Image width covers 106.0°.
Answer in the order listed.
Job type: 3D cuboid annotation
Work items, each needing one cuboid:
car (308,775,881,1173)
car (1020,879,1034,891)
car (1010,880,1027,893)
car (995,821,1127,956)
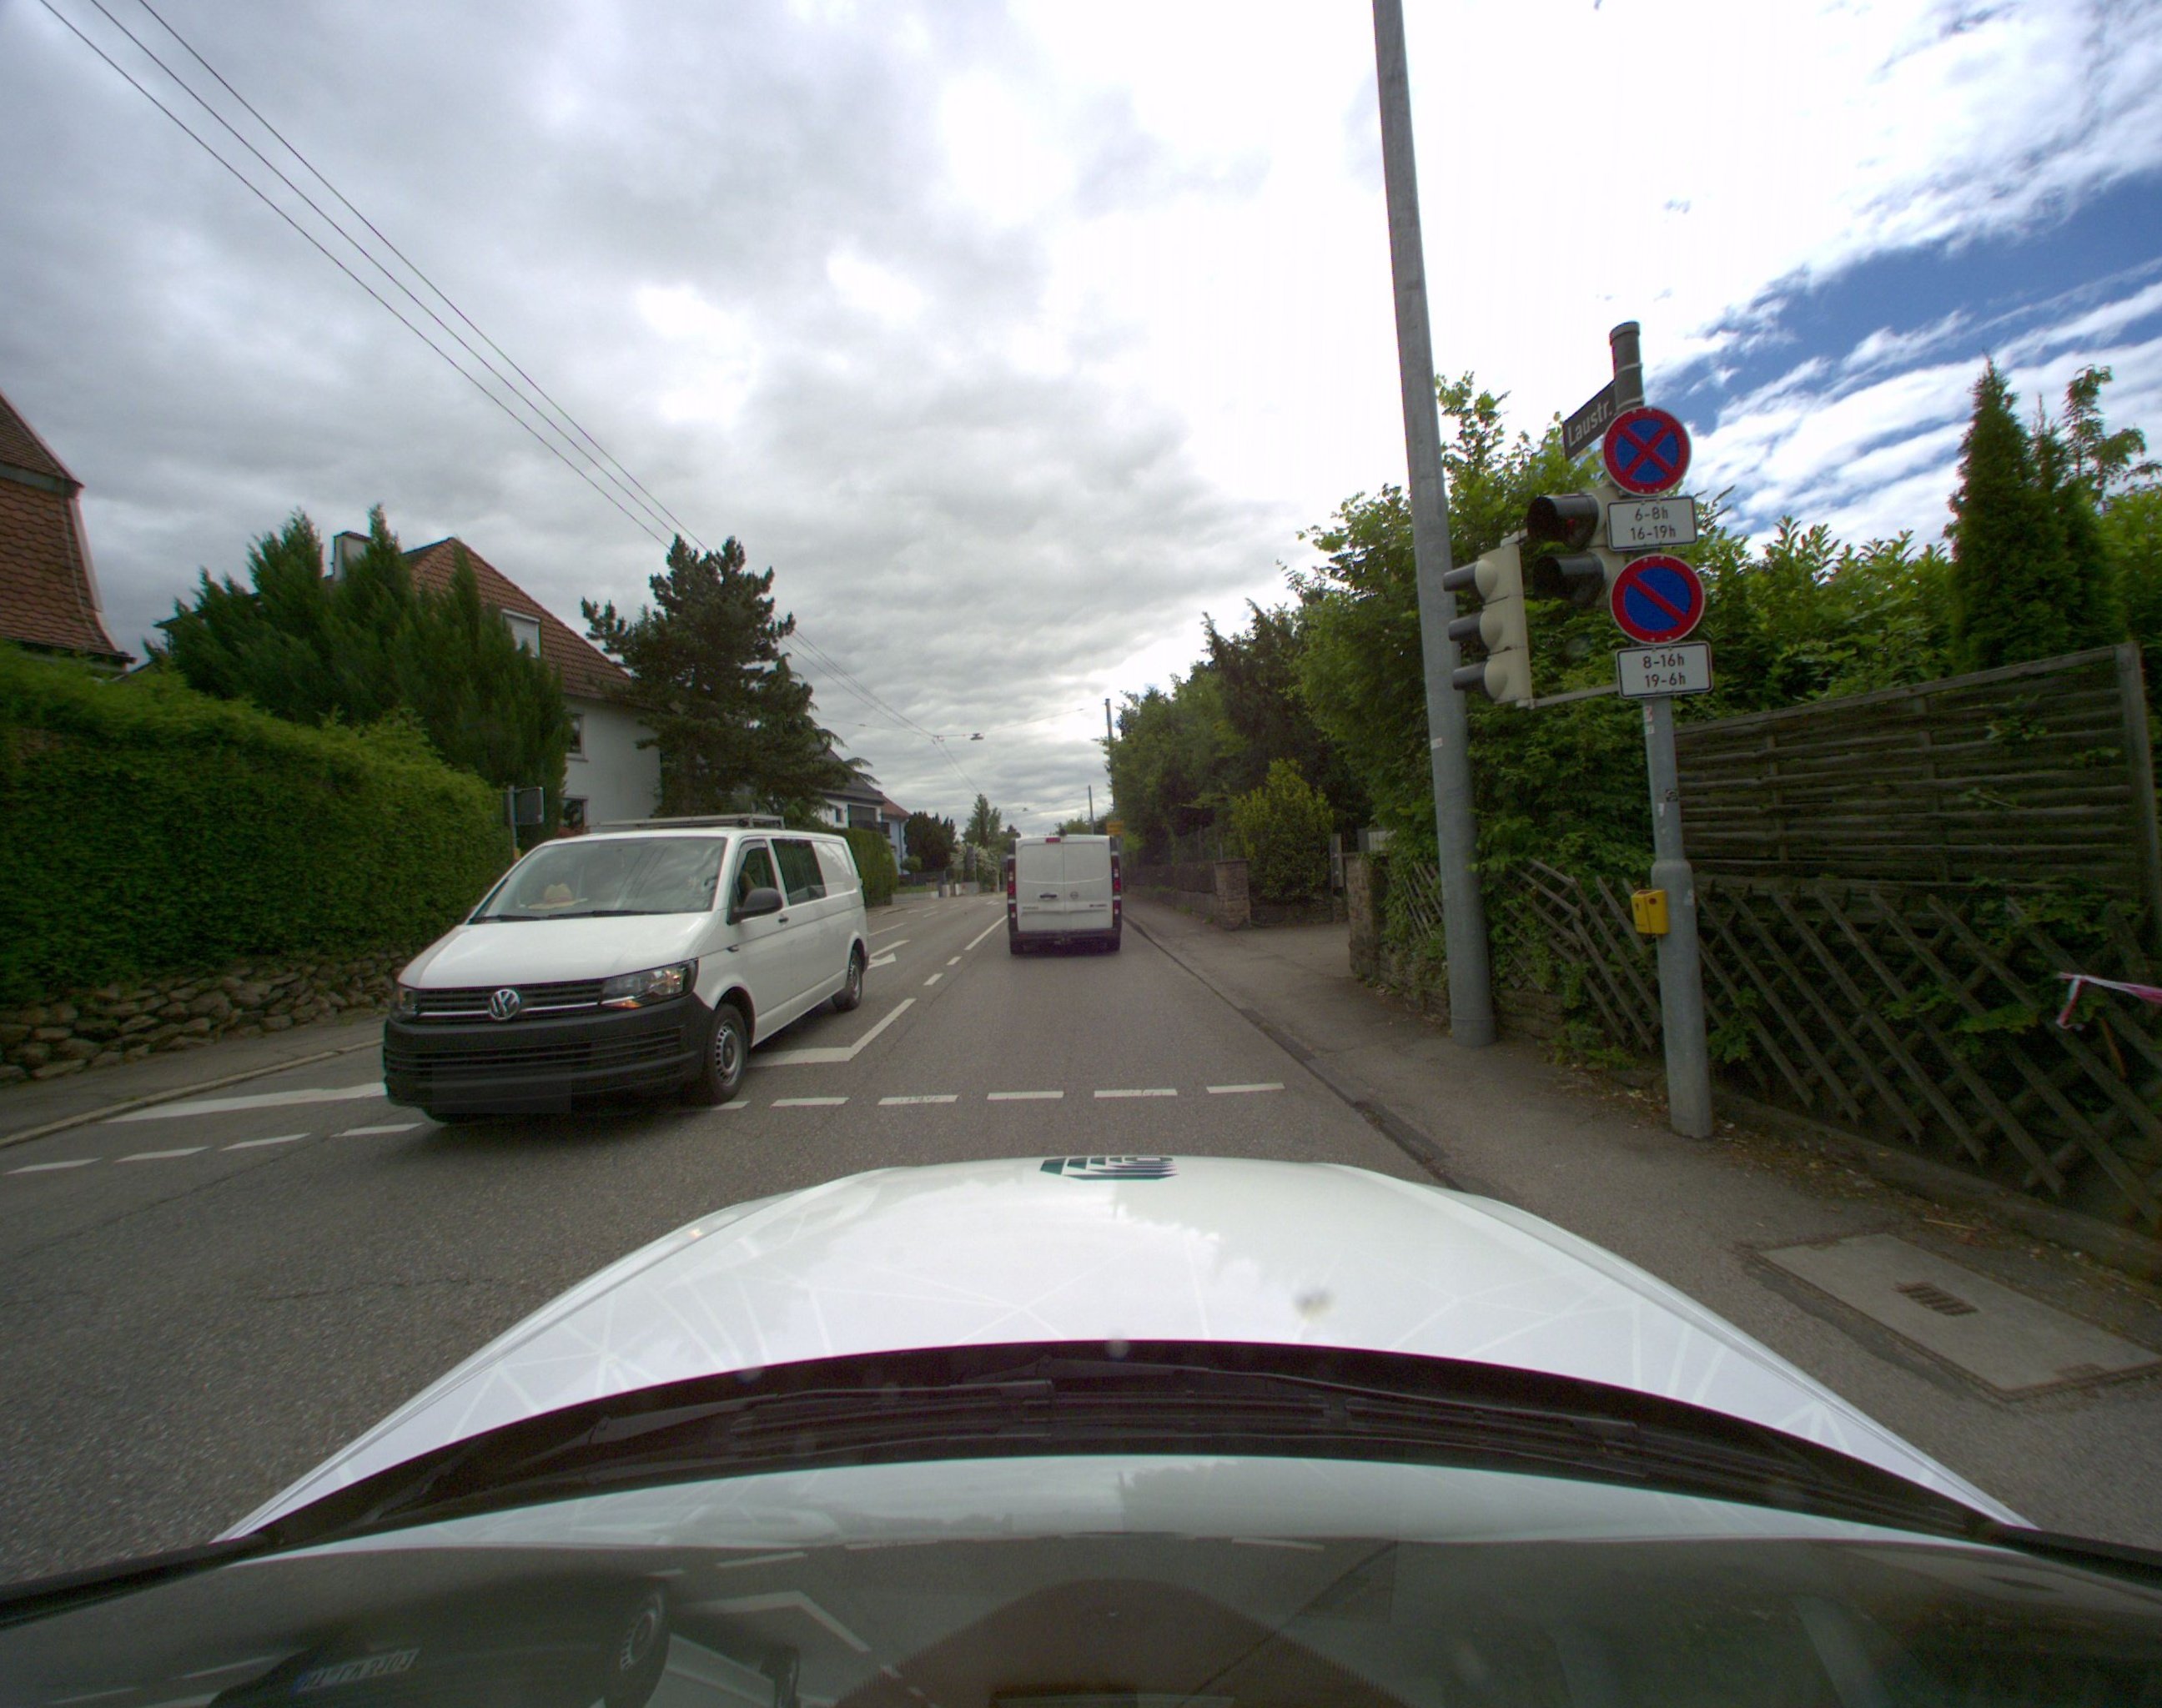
[{"bbox_3d":[-3.300,0.676,7.060,1.853,2.048,5.168,-4,-1,-2],"label":"car"},{"bbox_3d":[-7.760,4.522,117.717,1.674,1.556,3.969,-5,-2,-1],"label":"car"},{"bbox_3d":[-7.908,4.073,102.935,1.805,1.455,4.409,-6,-2,-2],"label":"car"},{"bbox_3d":[-0.365,0.571,15.207,2.001,2.038,5.006,-2,-1,-2],"label":"car"}]
